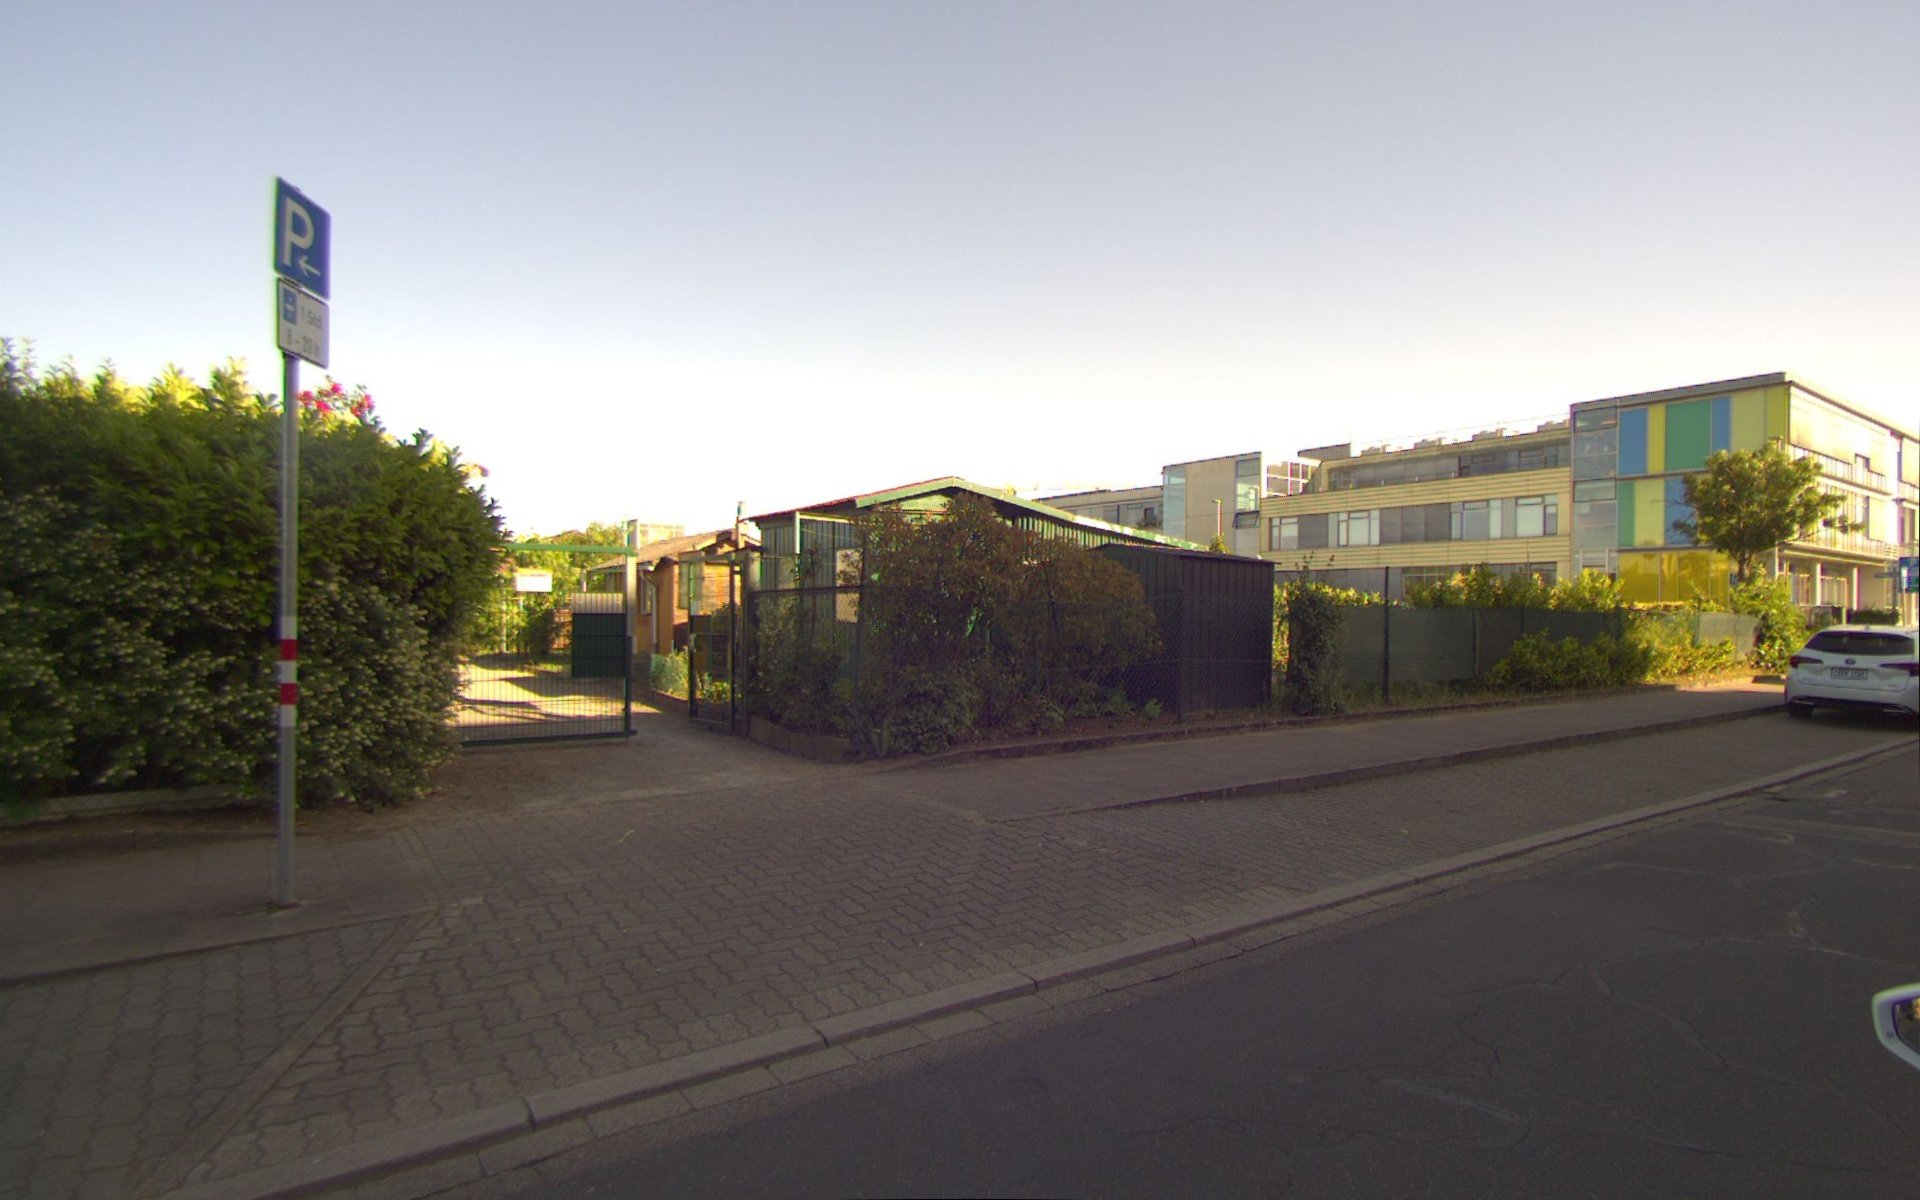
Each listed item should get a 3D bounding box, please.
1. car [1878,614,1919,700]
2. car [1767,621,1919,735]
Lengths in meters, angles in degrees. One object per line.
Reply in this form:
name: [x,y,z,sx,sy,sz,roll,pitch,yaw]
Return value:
car: [19.472,1.090,19.426,4.474,1.534,1.683,1,1,-37]
car: [14.345,1.102,15.566,4.497,1.465,1.735,1,1,-36]
